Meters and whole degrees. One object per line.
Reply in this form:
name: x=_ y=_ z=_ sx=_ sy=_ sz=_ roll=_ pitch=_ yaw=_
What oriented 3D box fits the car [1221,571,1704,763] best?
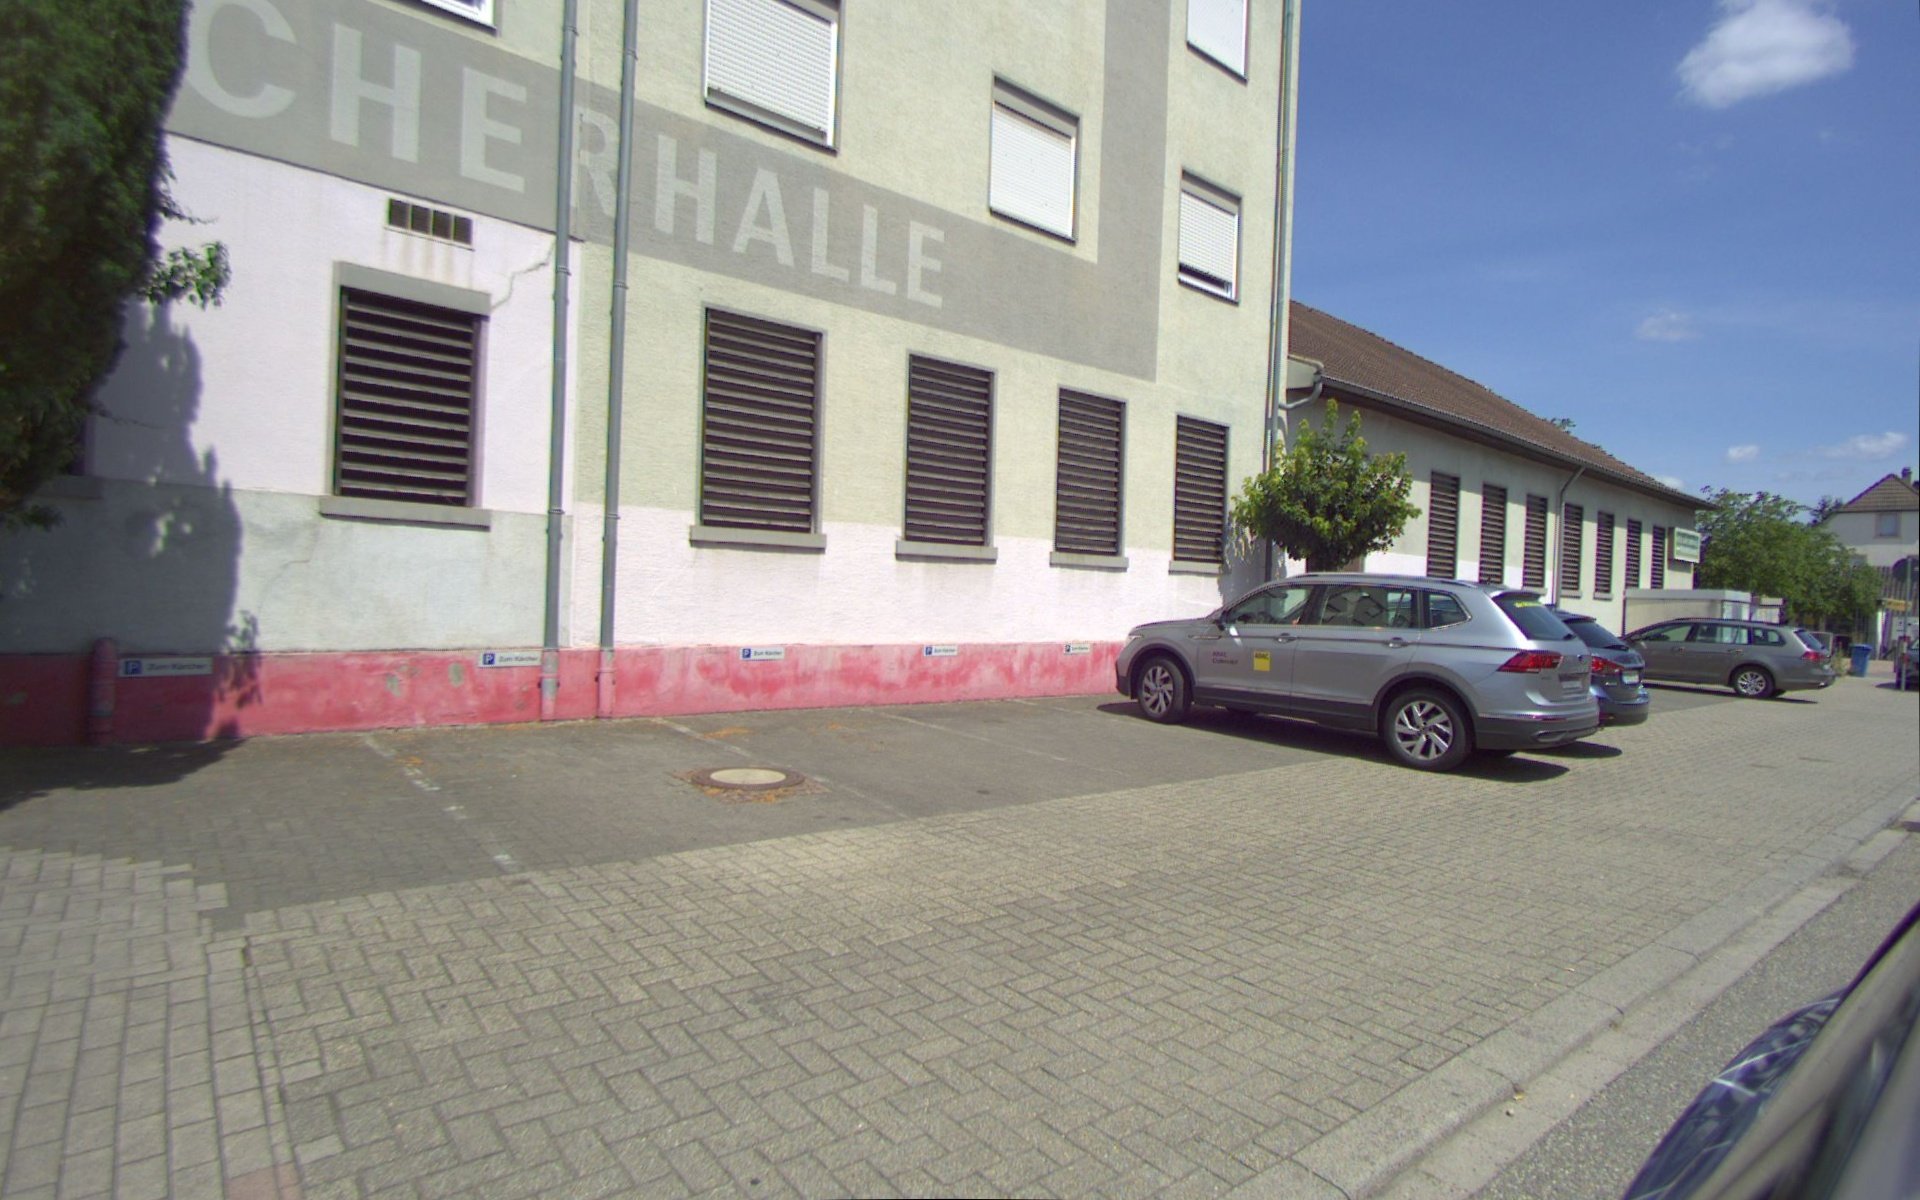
car: x=5.513 y=0.591 z=11.627 sx=1.965 sy=1.538 sz=4.511 roll=2 pitch=3 yaw=-41

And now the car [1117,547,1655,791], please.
car: x=3.943 y=0.463 z=10.029 sx=1.889 sy=1.717 sz=4.462 roll=2 pitch=3 yaw=-42

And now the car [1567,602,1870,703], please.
car: x=15.154 y=0.963 z=20.448 sx=1.884 sy=1.472 sz=4.538 roll=2 pitch=3 yaw=-40

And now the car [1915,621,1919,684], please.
car: x=25.079 y=1.358 z=25.115 sx=4.068 sy=1.507 sz=1.630 roll=2 pitch=2 yaw=-42
